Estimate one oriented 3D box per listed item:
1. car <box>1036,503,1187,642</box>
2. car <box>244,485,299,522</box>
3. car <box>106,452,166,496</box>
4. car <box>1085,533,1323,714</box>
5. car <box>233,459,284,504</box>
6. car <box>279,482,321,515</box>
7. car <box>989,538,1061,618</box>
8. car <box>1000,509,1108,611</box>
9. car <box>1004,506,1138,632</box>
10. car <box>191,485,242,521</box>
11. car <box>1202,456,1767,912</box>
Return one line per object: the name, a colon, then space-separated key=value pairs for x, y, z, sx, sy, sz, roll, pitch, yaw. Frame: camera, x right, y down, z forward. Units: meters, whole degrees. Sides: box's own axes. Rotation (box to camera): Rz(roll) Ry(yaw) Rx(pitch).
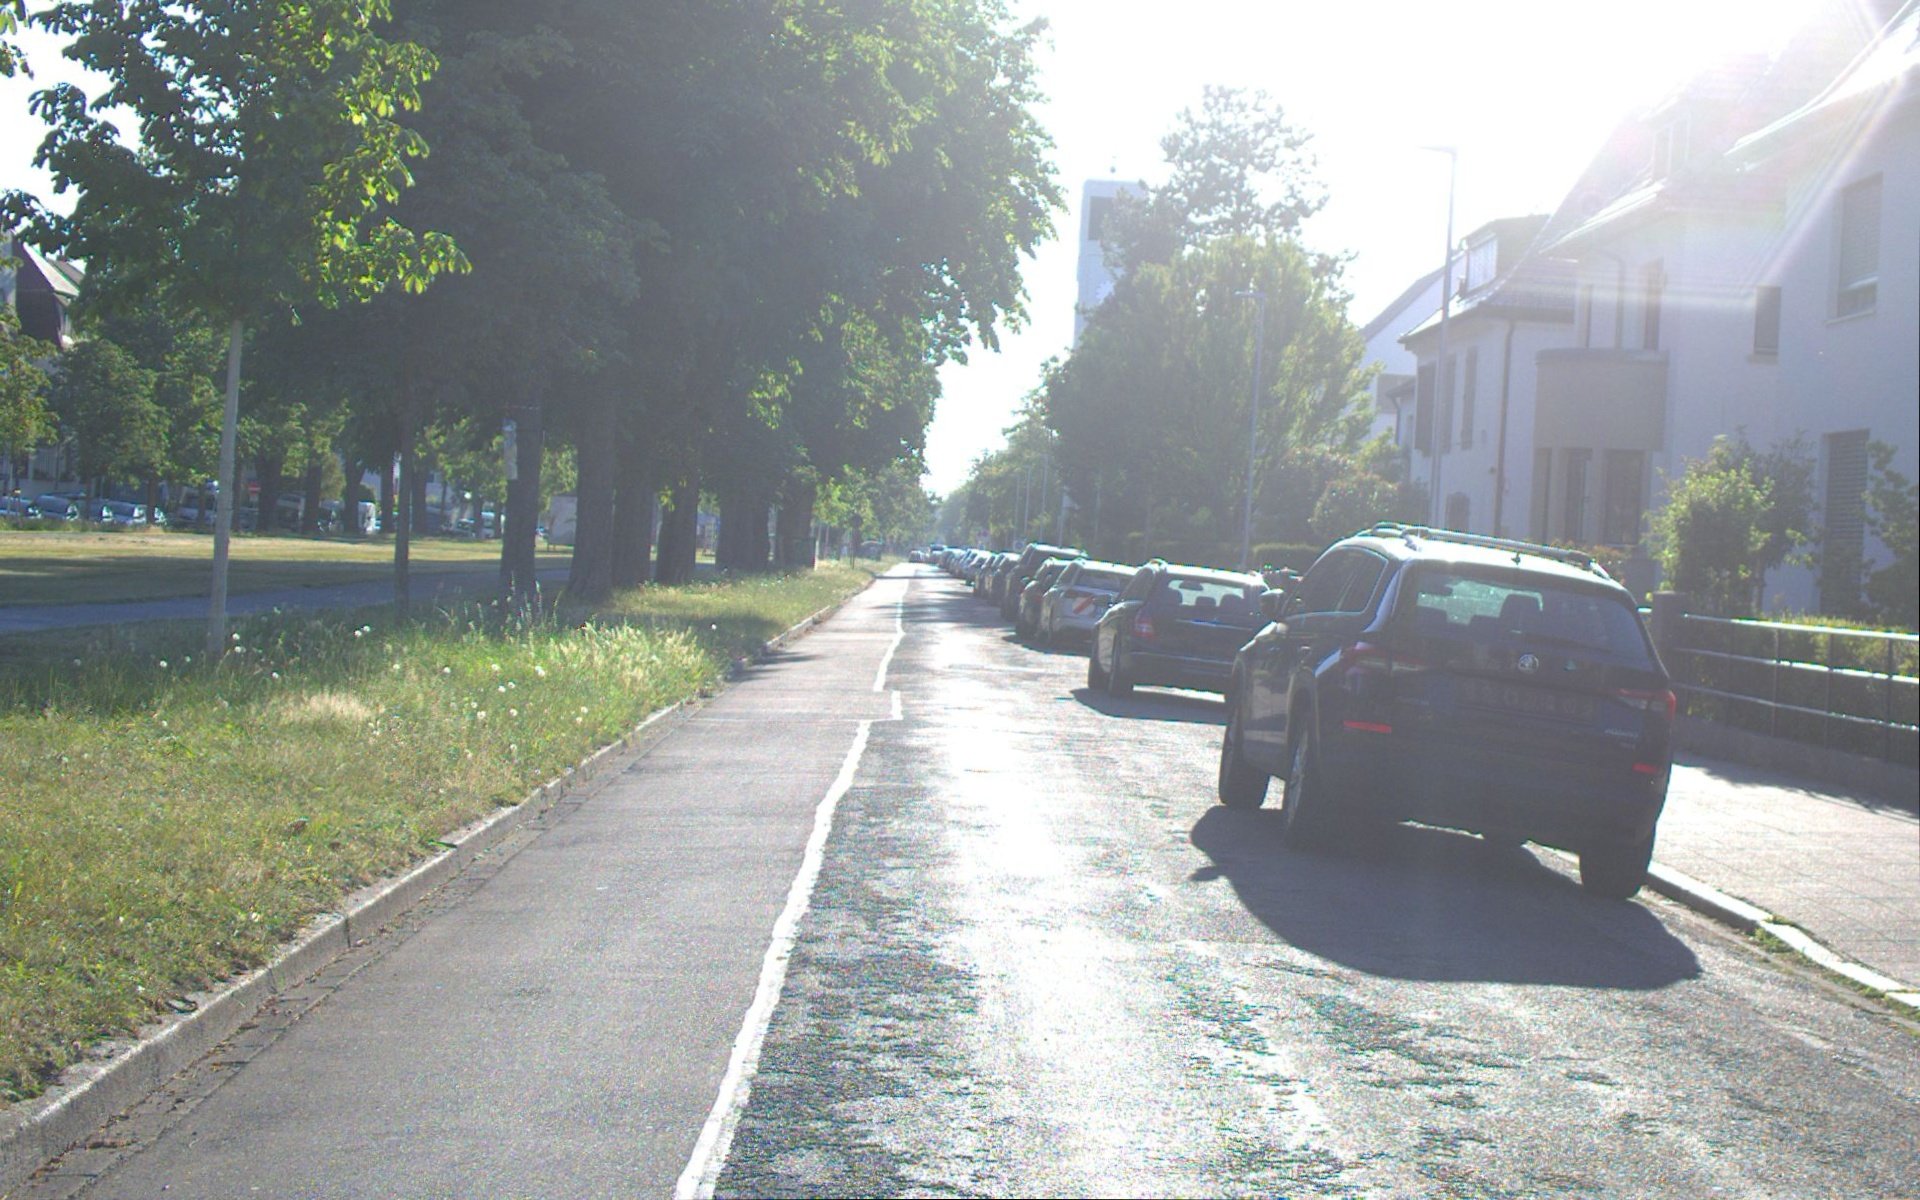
car: x=2.432 y=-0.453 z=56.258 sx=1.993 sy=2.007 sz=4.000 roll=6 pitch=0 yaw=-2
car: x=-35.139 y=-4.901 z=175.525 sx=1.993 sy=1.728 sz=4.000 roll=4 pitch=1 yaw=-1
car: x=-42.037 y=-6.417 z=175.496 sx=1.993 sy=1.906 sz=4.000 roll=6 pitch=0 yaw=-1
car: x=2.479 y=0.217 z=35.888 sx=1.993 sy=1.648 sz=4.000 roll=4 pitch=0 yaw=-2
car: x=-34.502 y=-5.818 z=169.111 sx=1.654 sy=1.931 sz=3.567 roll=5 pitch=-1 yaw=-1
car: x=-43.983 y=-6.732 z=229.080 sx=1.993 sy=2.007 sz=4.000 roll=4 pitch=1 yaw=-1
car: x=1.775 y=-0.615 z=95.374 sx=1.691 sy=2.007 sz=3.625 roll=6 pitch=0 yaw=-1
car: x=2.049 y=-0.883 z=75.945 sx=1.993 sy=2.007 sz=4.000 roll=6 pitch=0 yaw=-2
car: x=1.956 y=-0.551 z=61.827 sx=1.993 sy=2.007 sz=4.000 roll=6 pitch=0 yaw=-2
car: x=-41.285 y=-5.355 z=190.909 sx=1.879 sy=1.746 sz=3.797 roll=6 pitch=0 yaw=-1
car: x=2.640 y=0.359 z=18.469 sx=1.993 sy=1.897 sz=4.390 roll=8 pitch=1 yaw=-2
